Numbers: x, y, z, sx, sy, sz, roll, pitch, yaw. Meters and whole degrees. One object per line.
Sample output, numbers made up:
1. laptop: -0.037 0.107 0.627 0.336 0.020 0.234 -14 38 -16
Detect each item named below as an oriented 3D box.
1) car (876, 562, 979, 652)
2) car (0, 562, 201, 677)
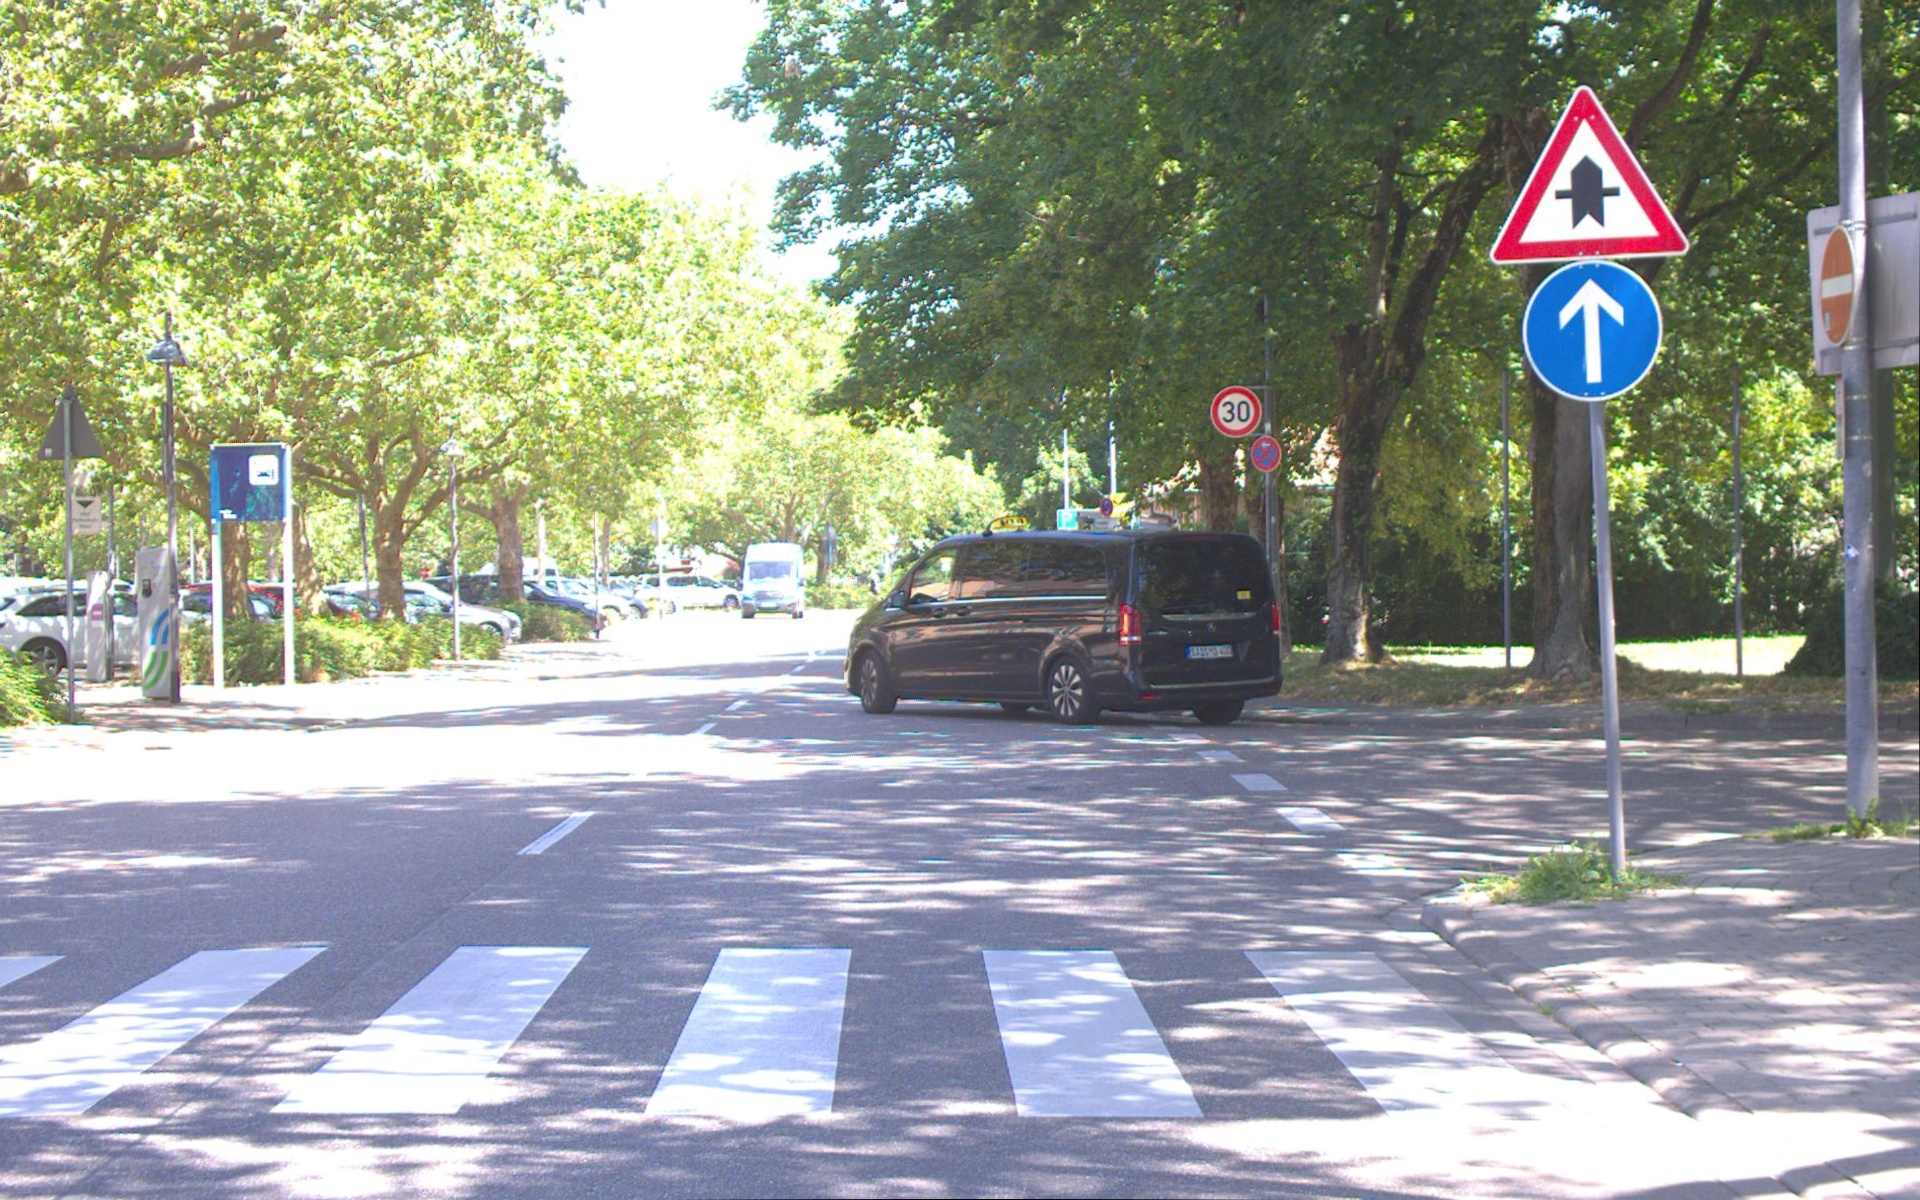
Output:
1. car: -0.704 0.137 72.769 2.125 1.842 4.048 0 0 -1
2. car: -14.314 0.321 55.095 3.986 1.775 2.000 -1 -1 -18
